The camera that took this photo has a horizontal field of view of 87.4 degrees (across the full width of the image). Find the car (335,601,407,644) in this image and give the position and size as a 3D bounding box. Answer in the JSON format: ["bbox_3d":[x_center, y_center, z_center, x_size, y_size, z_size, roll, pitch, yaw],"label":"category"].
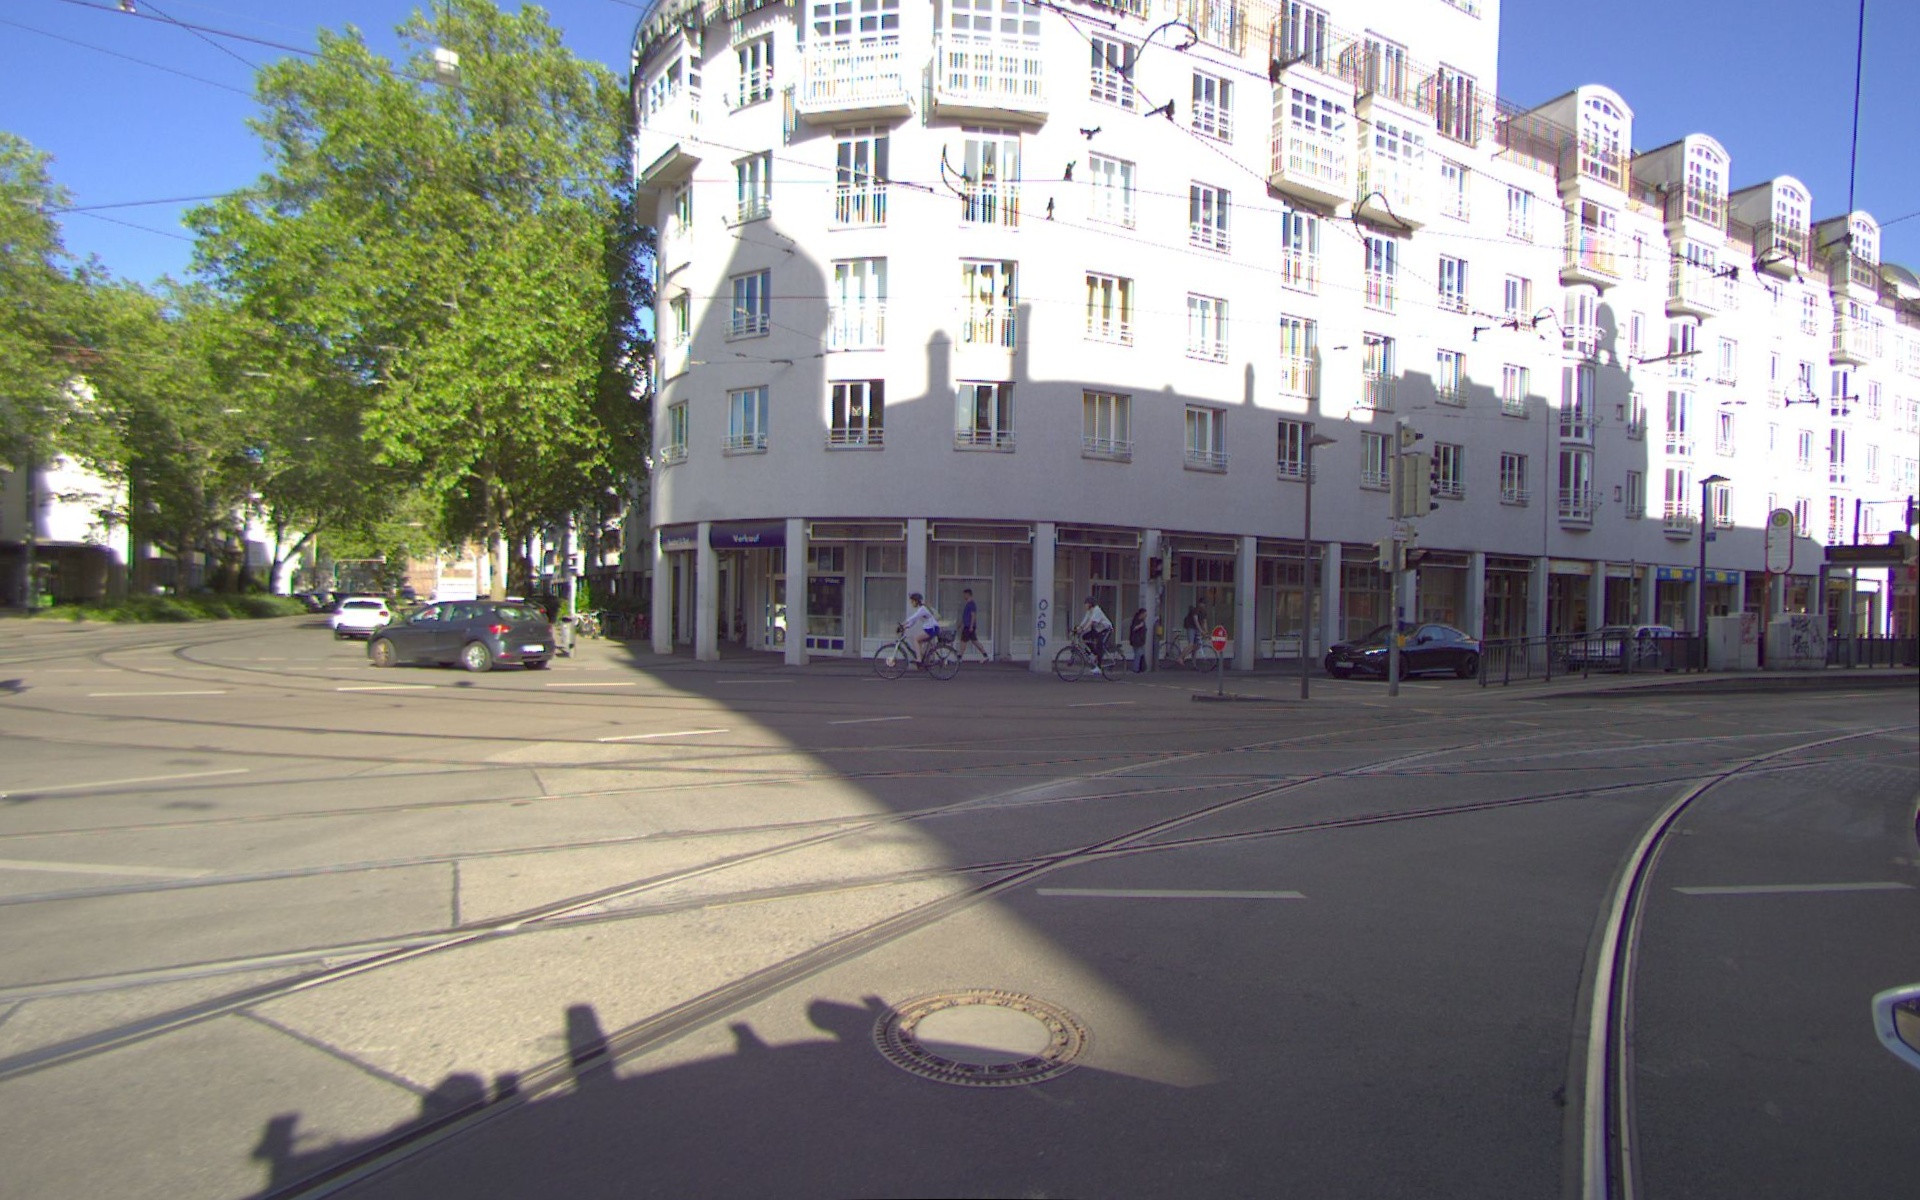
[{"bbox_3d":[-21.085,0.769,36.065,1.779,1.421,3.984,1,0,-24],"label":"car"}]

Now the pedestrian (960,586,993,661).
[{"bbox_3d":[0.411,0.598,25.375,0.732,1.857,0.461,1,0,-7],"label":"pedestrian"}]

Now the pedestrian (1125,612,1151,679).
[{"bbox_3d":[4.266,1.081,24.076,0.434,1.554,0.683,1,0,25],"label":"pedestrian"}]

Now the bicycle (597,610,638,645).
[{"bbox_3d":[-12.932,1.023,37.878,0.593,1.250,2.863,1,0,-37],"label":"bicycle"}]

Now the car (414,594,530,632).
[{"bbox_3d":[-20.899,0.563,43.049,4.353,1.352,1.984,4,-2,-30],"label":"car"}]

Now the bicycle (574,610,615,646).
[{"bbox_3d":[-13.604,1.023,37.329,0.593,1.250,2.863,1,0,-37],"label":"bicycle"}]

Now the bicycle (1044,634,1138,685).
[{"bbox_3d":[2.790,1.273,21.362,2.025,0.985,0.591,5,-2,-31],"label":"bicycle"}]

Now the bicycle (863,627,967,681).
[{"bbox_3d":[-0.904,1.105,20.387,1.982,0.985,0.593,4,-2,-21],"label":"bicycle"}]

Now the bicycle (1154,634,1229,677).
[{"bbox_3d":[5.878,1.410,25.543,1.727,0.993,0.678,3,-1,-1],"label":"bicycle"}]

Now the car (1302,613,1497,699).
[{"bbox_3d":[11.121,1.431,25.360,4.555,1.936,2.217,4,-2,-30],"label":"car"}]

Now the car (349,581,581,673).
[{"bbox_3d":[-10.215,0.563,20.828,3.920,1.616,2.001,3,-2,16],"label":"car"}]

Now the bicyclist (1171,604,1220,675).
[{"bbox_3d":[5.995,1.003,25.584,1.009,1.718,0.724,3,-1,0],"label":"bicyclist"}]

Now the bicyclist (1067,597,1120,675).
[{"bbox_3d":[2.850,0.770,21.455,0.886,1.606,0.585,4,-2,-31],"label":"bicyclist"}]

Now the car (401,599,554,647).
[{"bbox_3d":[-15.326,0.717,32.024,4.072,1.421,1.781,1,0,-43],"label":"car"}]

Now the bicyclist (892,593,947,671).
[{"bbox_3d":[-0.823,0.652,20.428,0.914,1.507,0.588,4,-2,-21],"label":"bicyclist"}]

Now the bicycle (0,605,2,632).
[{"bbox_3d":[-13.287,0.493,12.494,1.832,0.985,0.591,4,-2,-29],"label":"bicycle"}]

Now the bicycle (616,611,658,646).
[{"bbox_3d":[-12.361,1.084,38.384,0.593,1.250,2.863,1,0,-37],"label":"bicycle"}]

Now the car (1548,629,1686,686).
[{"bbox_3d":[20.025,1.766,30.563,4.353,1.534,1.721,4,-2,-30],"label":"car"}]
